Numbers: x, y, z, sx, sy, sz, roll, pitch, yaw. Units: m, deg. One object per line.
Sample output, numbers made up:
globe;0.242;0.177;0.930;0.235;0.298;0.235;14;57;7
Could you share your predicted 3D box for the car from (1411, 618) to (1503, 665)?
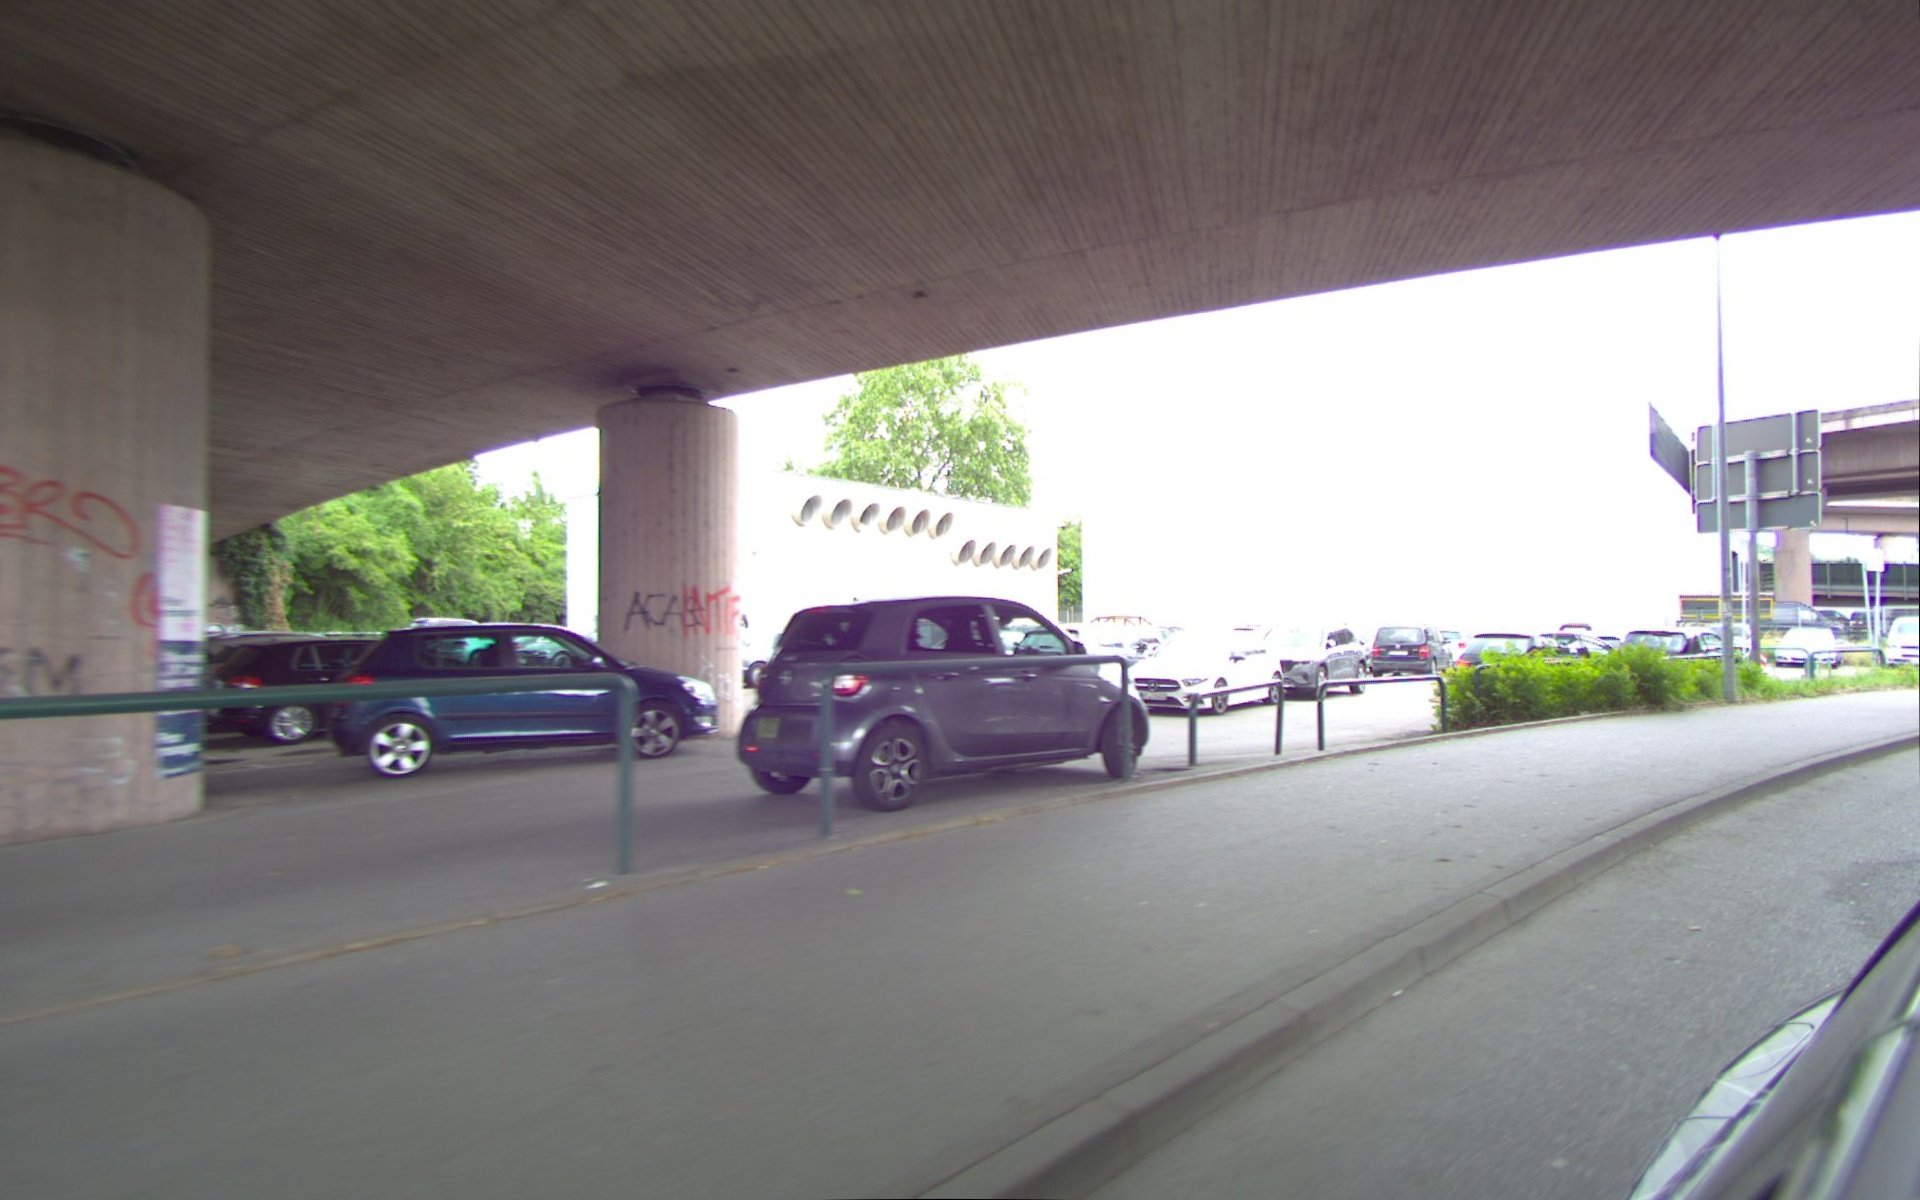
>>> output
car;17.617;1.411;35.789;1.831;1.533;4.433;-1;-2;41

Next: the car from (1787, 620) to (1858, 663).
car;32.220;1.507;37.774;1.770;1.475;4.482;-1;-1;44

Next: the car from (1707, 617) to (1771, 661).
car;30.331;1.465;39.368;1.767;1.608;4.297;-1;-1;40

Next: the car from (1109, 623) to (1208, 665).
car;7.431;1.584;37.588;1.776;1.410;4.373;-1;-2;39

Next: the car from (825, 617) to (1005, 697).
car;-0.916;1.198;22.733;1.828;1.613;4.133;-1;-1;38

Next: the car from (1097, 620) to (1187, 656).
car;7.887;1.612;43.558;1.831;1.444;4.375;-1;-2;41

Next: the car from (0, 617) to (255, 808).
car;-8.208;0.939;8.639;1.522;1.519;3.328;-4;-3;38

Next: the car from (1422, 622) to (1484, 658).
car;21.876;1.740;44.854;1.764;1.475;4.304;-1;-1;36

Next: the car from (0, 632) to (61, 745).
car;-14.059;1.167;12.762;1.828;1.445;3.808;-1;-1;38

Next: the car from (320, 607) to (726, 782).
car;-4.694;0.917;11.093;3.781;1.526;1.792;-1;-2;-29

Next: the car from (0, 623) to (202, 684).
car;-23.267;1.372;27.346;1.828;1.484;4.133;-1;-1;38

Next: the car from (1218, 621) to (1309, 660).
car;12.062;1.546;40.097;1.831;1.444;4.375;-1;-2;41

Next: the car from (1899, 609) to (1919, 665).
car;35.570;1.305;36.686;4.600;1.982;1.890;1;-1;-43

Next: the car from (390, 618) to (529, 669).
car;-18.003;1.510;36.549;1.828;1.710;4.133;-1;-1;38

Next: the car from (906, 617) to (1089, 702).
car;0.886;1.168;21.551;1.828;1.613;4.133;-1;-1;38

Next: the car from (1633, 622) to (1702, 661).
car;27.964;1.599;39.954;1.768;1.401;4.295;-1;-1;42

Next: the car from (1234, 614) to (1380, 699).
car;7.873;1.178;22.713;1.736;1.697;4.408;-1;-1;38

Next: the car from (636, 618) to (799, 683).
car;-6.548;1.319;27.739;1.828;1.613;4.133;-1;-1;38

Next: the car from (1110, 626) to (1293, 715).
car;4.663;1.237;19.132;1.828;1.439;4.133;-1;-1;38

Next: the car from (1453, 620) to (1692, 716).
car;10.963;1.130;18.079;4.163;1.498;1.737;0;-1;-28

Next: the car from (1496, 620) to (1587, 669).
car;19.525;1.433;33.898;1.831;1.533;4.433;-1;-2;41

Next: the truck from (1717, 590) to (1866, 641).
truck;51.841;0.992;63.225;6.908;2.970;3.001;-1;-2;45

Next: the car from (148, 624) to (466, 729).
car;-10.784;1.164;16.975;1.828;1.484;4.133;-1;-1;38

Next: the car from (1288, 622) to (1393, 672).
car;12.340;1.456;32.630;1.849;1.462;4.555;-1;-2;39

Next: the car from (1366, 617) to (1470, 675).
car;14.202;1.343;31.235;1.849;1.649;4.555;-1;-2;39

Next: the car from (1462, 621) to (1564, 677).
car;16.317;1.370;29.768;1.849;1.494;4.620;-1;-2;39

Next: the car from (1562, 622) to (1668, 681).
car;18.306;1.371;28.197;1.850;1.494;4.617;-1;-2;41

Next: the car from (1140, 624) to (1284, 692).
car;6.206;1.330;24.591;1.747;1.467;4.397;-1;-1;38

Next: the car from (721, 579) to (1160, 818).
car;-0.058;0.685;8.305;3.351;1.553;1.608;1;-3;-41

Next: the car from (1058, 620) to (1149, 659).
car;5.635;1.487;39.346;1.760;1.410;3.920;-1;-2;39

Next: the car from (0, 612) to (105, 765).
car;-12.182;1.003;11.248;1.828;1.720;3.808;-1;-1;38

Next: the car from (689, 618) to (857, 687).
car;-4.768;1.289;26.237;1.828;1.613;4.133;-1;-1;38

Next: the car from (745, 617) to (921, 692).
car;-2.961;1.232;24.346;1.828;1.613;4.133;-1;-1;38

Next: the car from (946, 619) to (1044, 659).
car;1.504;1.552;41.590;1.760;1.553;4.425;-1;-2;39

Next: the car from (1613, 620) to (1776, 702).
car;14.522;1.151;20.019;2.704;1.498;1.546;0;-1;-28

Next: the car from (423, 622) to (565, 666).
car;-16.086;1.478;35.110;1.828;1.427;4.133;-1;-1;38

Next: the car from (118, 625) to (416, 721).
car;-12.437;1.228;18.390;1.828;1.484;4.133;-1;-1;38

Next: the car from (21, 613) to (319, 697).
car;-17.829;1.158;23.105;2.080;1.699;5.035;-1;-1;38

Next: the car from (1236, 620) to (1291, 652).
car;15.378;1.787;51.158;1.488;1.478;4.012;-1;-1;36

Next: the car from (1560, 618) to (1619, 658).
car;26.329;1.548;42.302;1.617;1.564;3.051;-1;-1;42

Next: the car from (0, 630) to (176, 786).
car;-10.478;1.077;9.810;1.831;1.489;4.312;-3;-3;42

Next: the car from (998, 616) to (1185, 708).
car;2.702;1.138;20.055;1.828;1.613;4.133;-1;-1;38

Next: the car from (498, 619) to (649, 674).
car;-12.101;1.412;31.918;1.828;1.613;4.133;-1;-1;38

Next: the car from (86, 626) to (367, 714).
car;-14.275;1.277;19.899;1.828;1.484;4.133;-1;-1;38

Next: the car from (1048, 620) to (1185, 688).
car;4.082;1.302;25.922;1.747;1.577;4.030;-1;-1;38

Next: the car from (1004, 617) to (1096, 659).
car;3.620;1.468;40.204;1.760;1.553;3.920;-1;-2;39

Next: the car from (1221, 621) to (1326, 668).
car;10.647;1.438;34.154;1.849;1.462;4.555;-1;-2;39

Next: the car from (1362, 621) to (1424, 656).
car;19.983;1.739;46.620;1.764;1.475;4.304;-1;-1;36

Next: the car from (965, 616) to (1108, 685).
car;2.163;1.299;27.484;1.747;1.713;4.370;-1;-1;38

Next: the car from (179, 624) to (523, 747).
car;-9.115;1.164;15.445;1.828;1.570;4.133;-1;-1;38
